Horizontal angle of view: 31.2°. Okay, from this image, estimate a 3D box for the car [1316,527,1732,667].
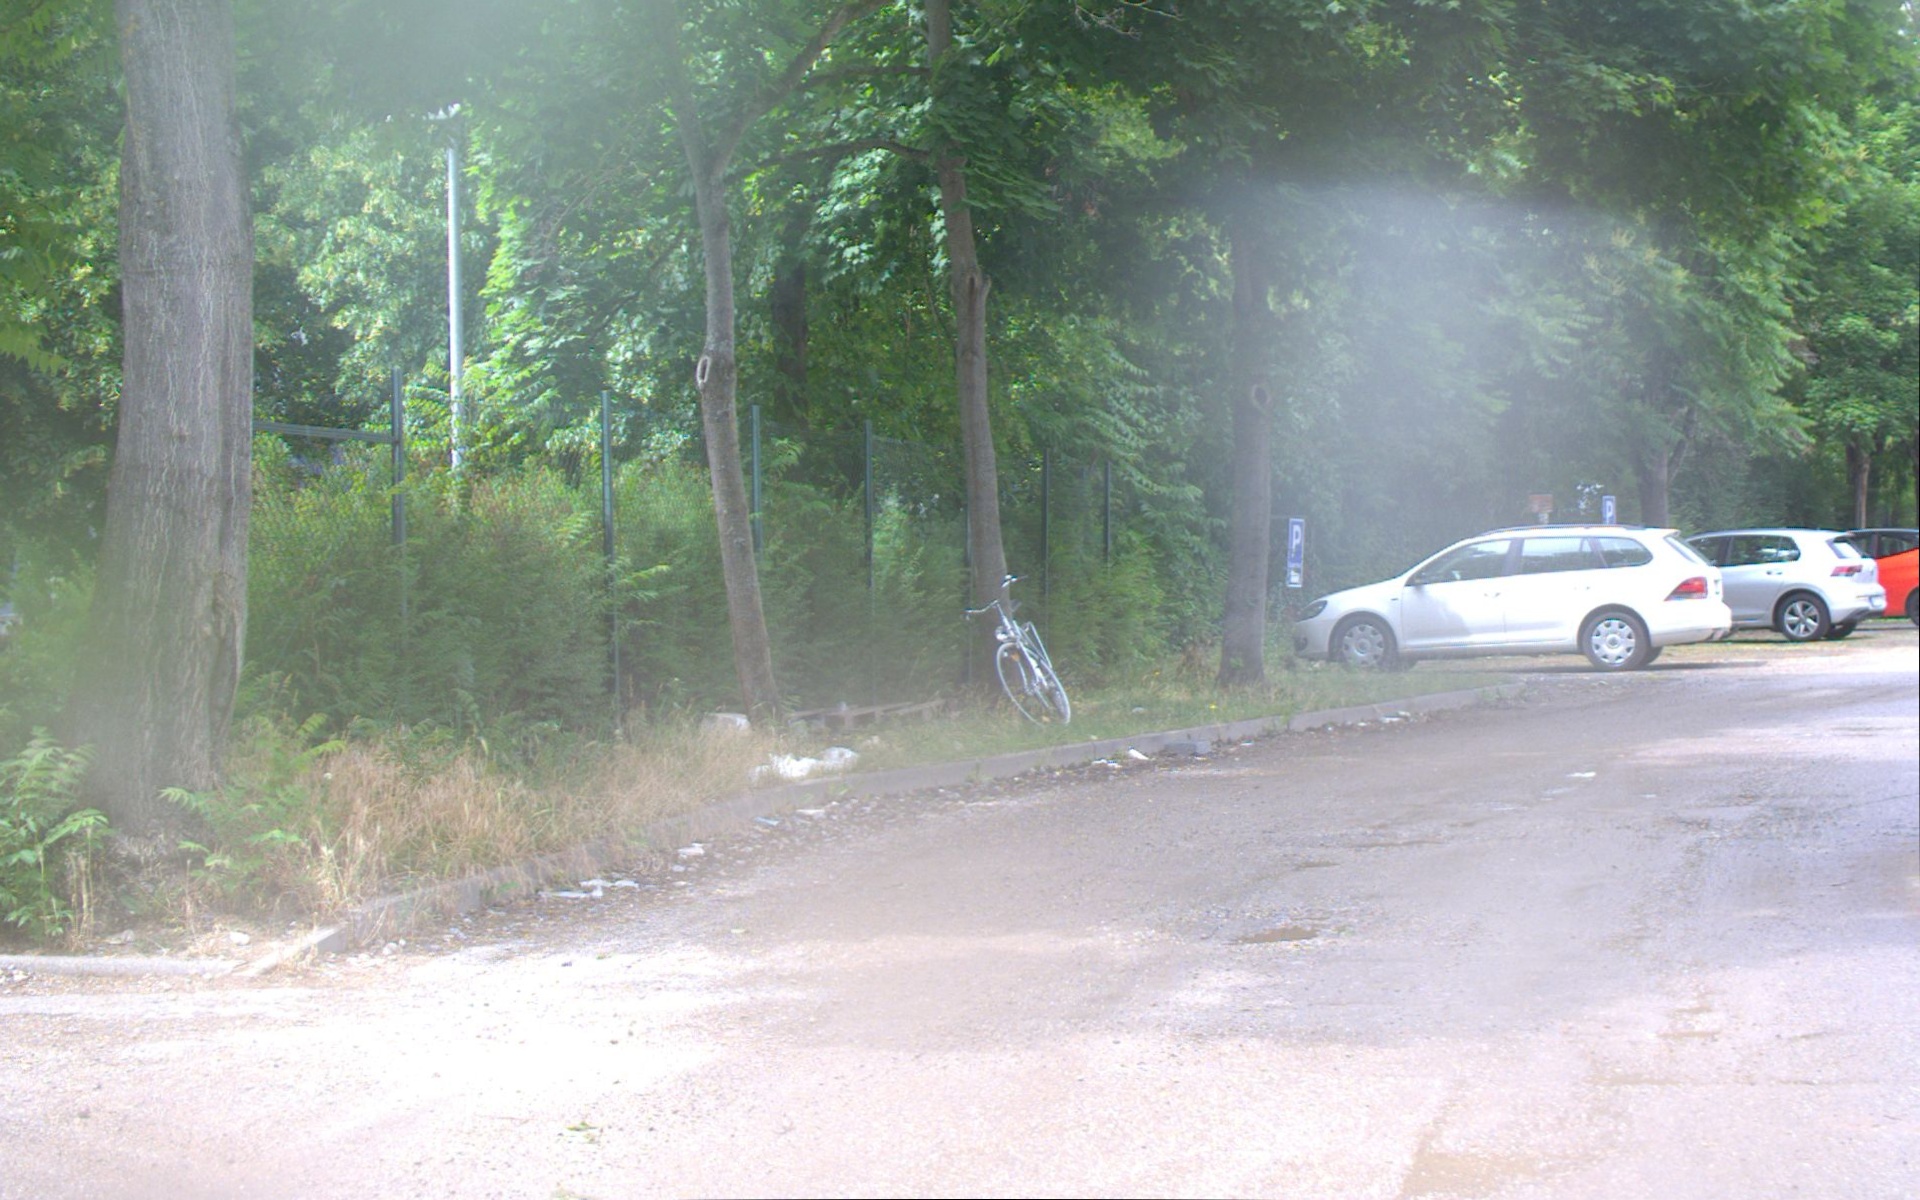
[{"bbox_3d":[5.908,-0.024,35.916,4.038,1.404,1.980,0,0,18],"label":"car"}]

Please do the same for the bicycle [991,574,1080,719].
[{"bbox_3d":[0.502,0.288,22.492,0.467,0.876,1.570,0,2,5],"label":"bicycle"}]

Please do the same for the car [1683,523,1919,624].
[{"bbox_3d":[12.501,-0.361,49.190,4.038,1.404,1.980,0,0,18],"label":"car"}]

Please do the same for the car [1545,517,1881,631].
[{"bbox_3d":[9.669,-0.314,44.090,4.038,1.404,1.980,0,0,18],"label":"car"}]
